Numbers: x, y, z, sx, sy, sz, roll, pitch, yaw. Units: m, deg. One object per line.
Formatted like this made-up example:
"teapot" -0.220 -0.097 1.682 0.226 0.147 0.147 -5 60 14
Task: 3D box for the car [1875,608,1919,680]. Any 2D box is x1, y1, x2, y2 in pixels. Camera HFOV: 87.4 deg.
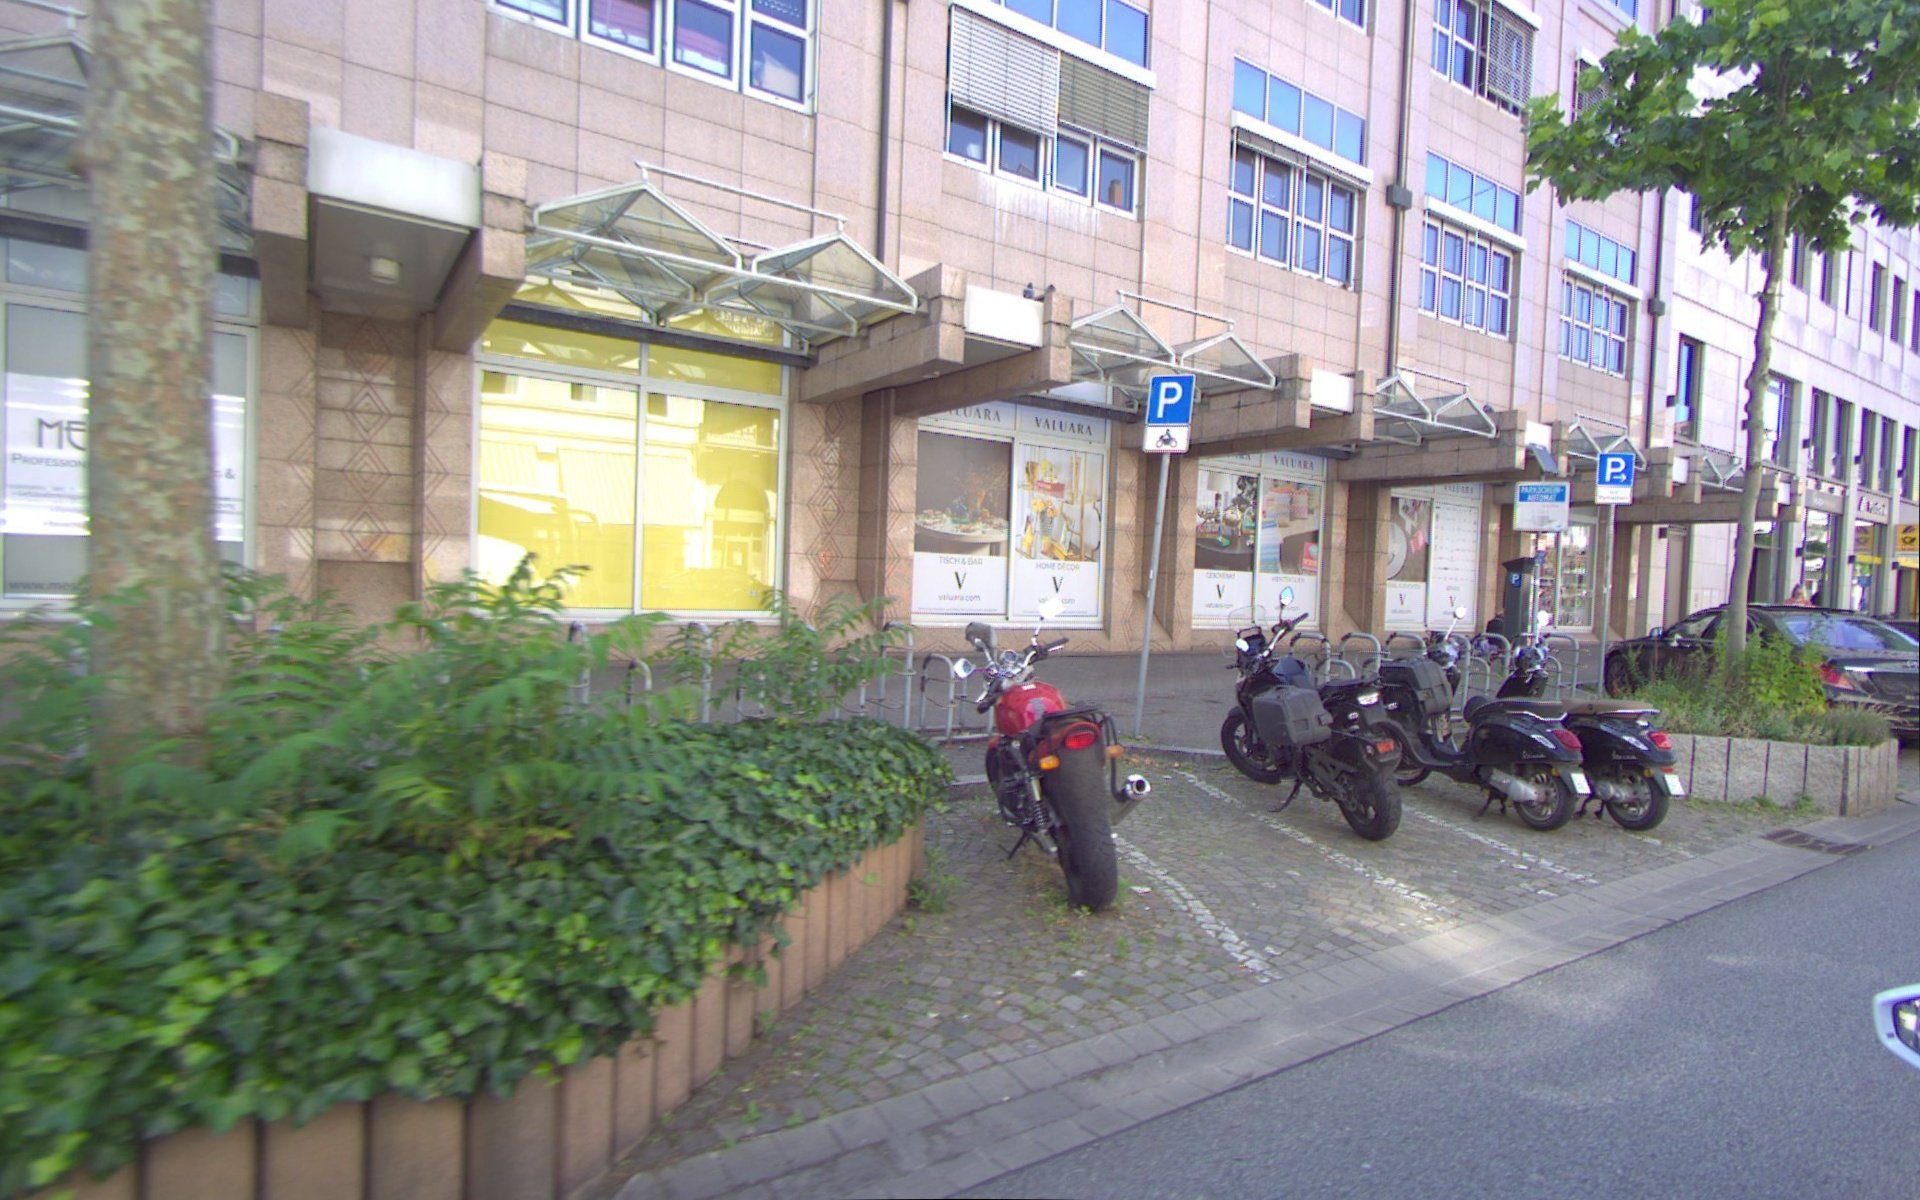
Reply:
"car" 20.652 1.030 19.582 1.868 1.427 4.652 3 3 10

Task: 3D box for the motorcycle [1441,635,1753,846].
"motorcycle" 4.500 0.924 7.309 0.747 1.185 1.911 1 2 -13

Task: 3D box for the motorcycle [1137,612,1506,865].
"motorcycle" 2.275 0.800 6.842 1.271 1.285 2.346 1 2 -13

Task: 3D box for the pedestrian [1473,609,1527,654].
"pedestrian" 10.716 0.617 19.933 0.766 0.820 0.562 1 6 -34

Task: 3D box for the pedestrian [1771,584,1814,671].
"pedestrian" 16.651 0.538 20.101 0.558 1.679 0.634 2 1 35

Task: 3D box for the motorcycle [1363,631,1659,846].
"motorcycle" 3.784 0.884 7.133 0.716 1.185 1.911 1 2 -13

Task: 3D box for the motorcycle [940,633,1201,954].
"motorcycle" 0.443 0.852 5.279 0.903 1.185 2.177 2 2 -5

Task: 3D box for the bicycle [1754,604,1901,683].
"bicycle" 16.879 0.812 19.598 0.364 1.306 2.047 1 4 -40

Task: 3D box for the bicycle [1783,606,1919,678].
"bicycle" 18.084 0.817 20.376 2.041 1.236 0.756 6 4 41

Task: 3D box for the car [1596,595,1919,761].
"car" 10.270 0.813 12.699 1.950 1.554 4.759 3 2 9

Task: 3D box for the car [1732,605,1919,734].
"car" 13.102 0.944 13.666 1.845 1.442 4.798 2 3 7
